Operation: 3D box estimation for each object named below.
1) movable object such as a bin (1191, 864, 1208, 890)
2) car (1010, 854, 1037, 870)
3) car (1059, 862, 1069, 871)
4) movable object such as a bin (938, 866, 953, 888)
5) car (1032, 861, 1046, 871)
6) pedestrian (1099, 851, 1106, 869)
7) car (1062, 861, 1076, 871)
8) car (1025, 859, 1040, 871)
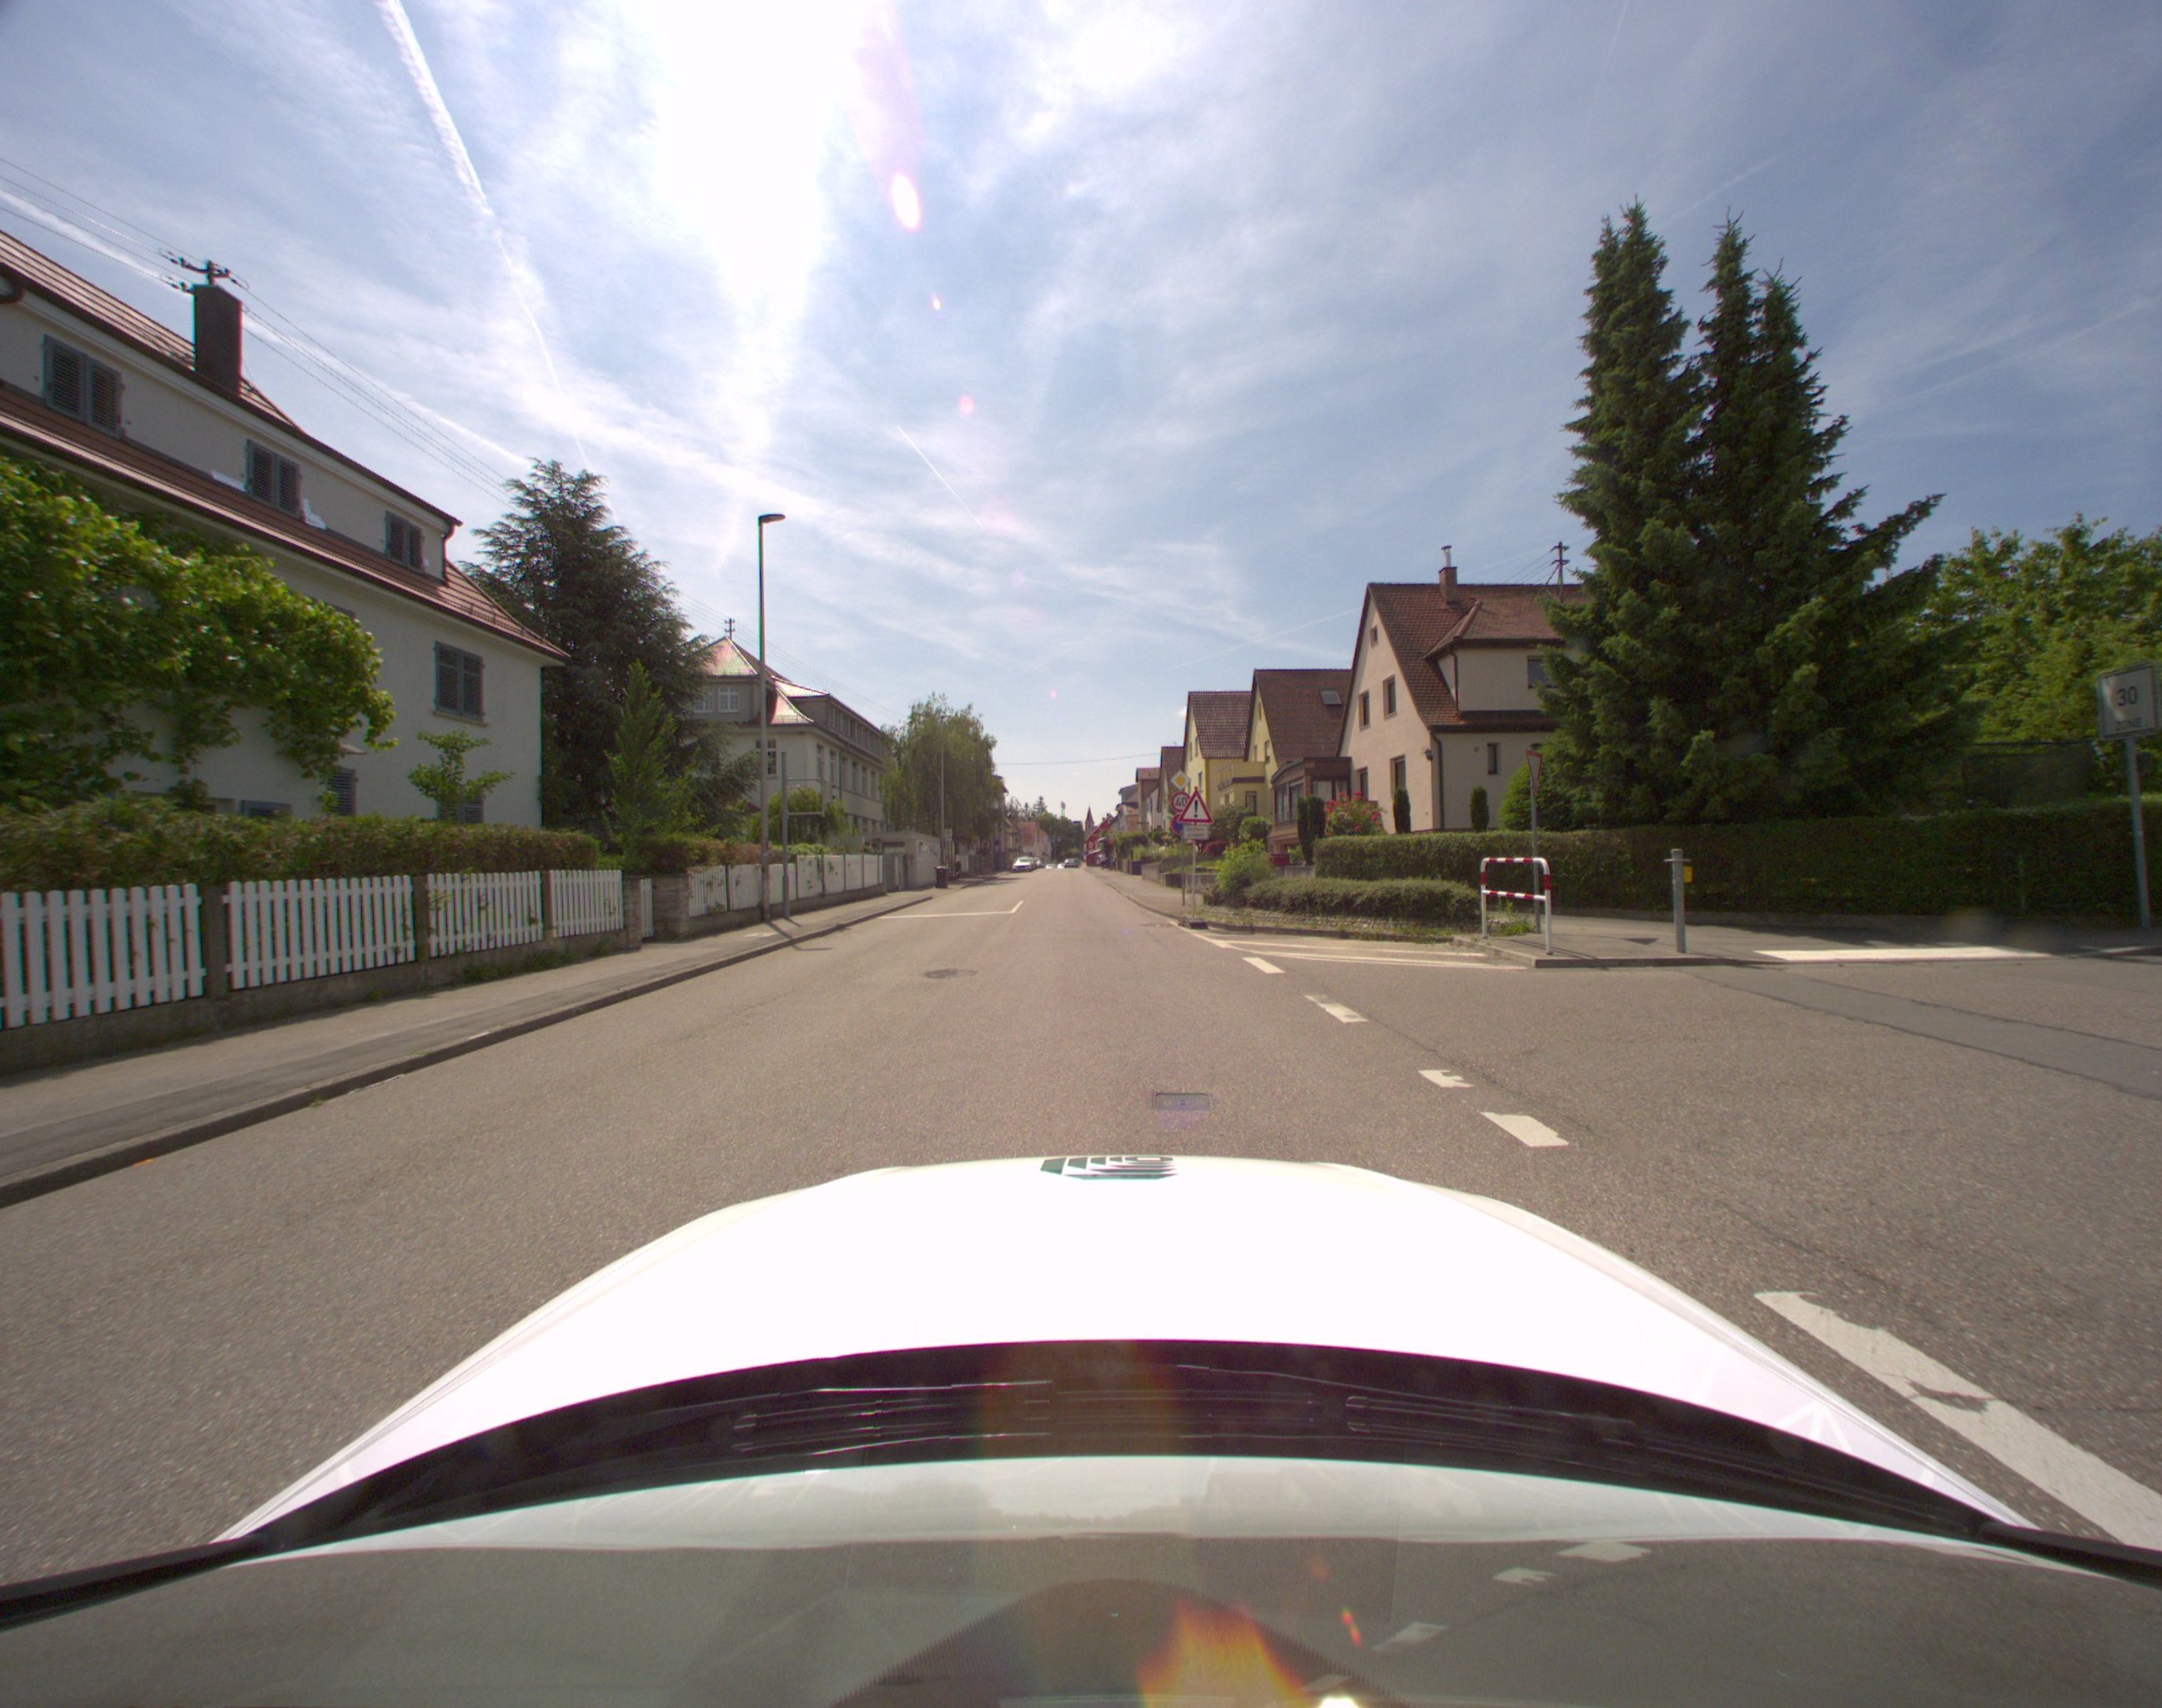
[{"bbox_3d":[5.319,1.027,36.459,0.581,1.078,0.733,3,0,-1],"label":"movable object such as a bin"},{"bbox_3d":[-5.817,0.782,82.655,2.101,1.560,4.318,-2,0,3],"label":"car"},{"bbox_3d":[-3.688,2.758,179.585,1.986,2.014,4.000,-2,0,1],"label":"car"},{"bbox_3d":[-6.830,1.145,41.012,0.606,1.046,0.725,-1,1,-1],"label":"movable object such as a bin"},{"bbox_3d":[-6.803,1.964,131.957,1.987,1.560,4.313,-2,0,0],"label":"car"},{"bbox_3d":[2.140,0.619,81.383,0.644,1.729,0.608,-4,0,-2],"label":"pedestrian"},{"bbox_3d":[-2.043,1.963,133.293,1.990,1.560,4.307,-2,0,-4],"label":"car"},{"bbox_3d":[-6.993,1.557,118.220,1.988,1.560,4.311,-2,0,-2],"label":"car"}]
